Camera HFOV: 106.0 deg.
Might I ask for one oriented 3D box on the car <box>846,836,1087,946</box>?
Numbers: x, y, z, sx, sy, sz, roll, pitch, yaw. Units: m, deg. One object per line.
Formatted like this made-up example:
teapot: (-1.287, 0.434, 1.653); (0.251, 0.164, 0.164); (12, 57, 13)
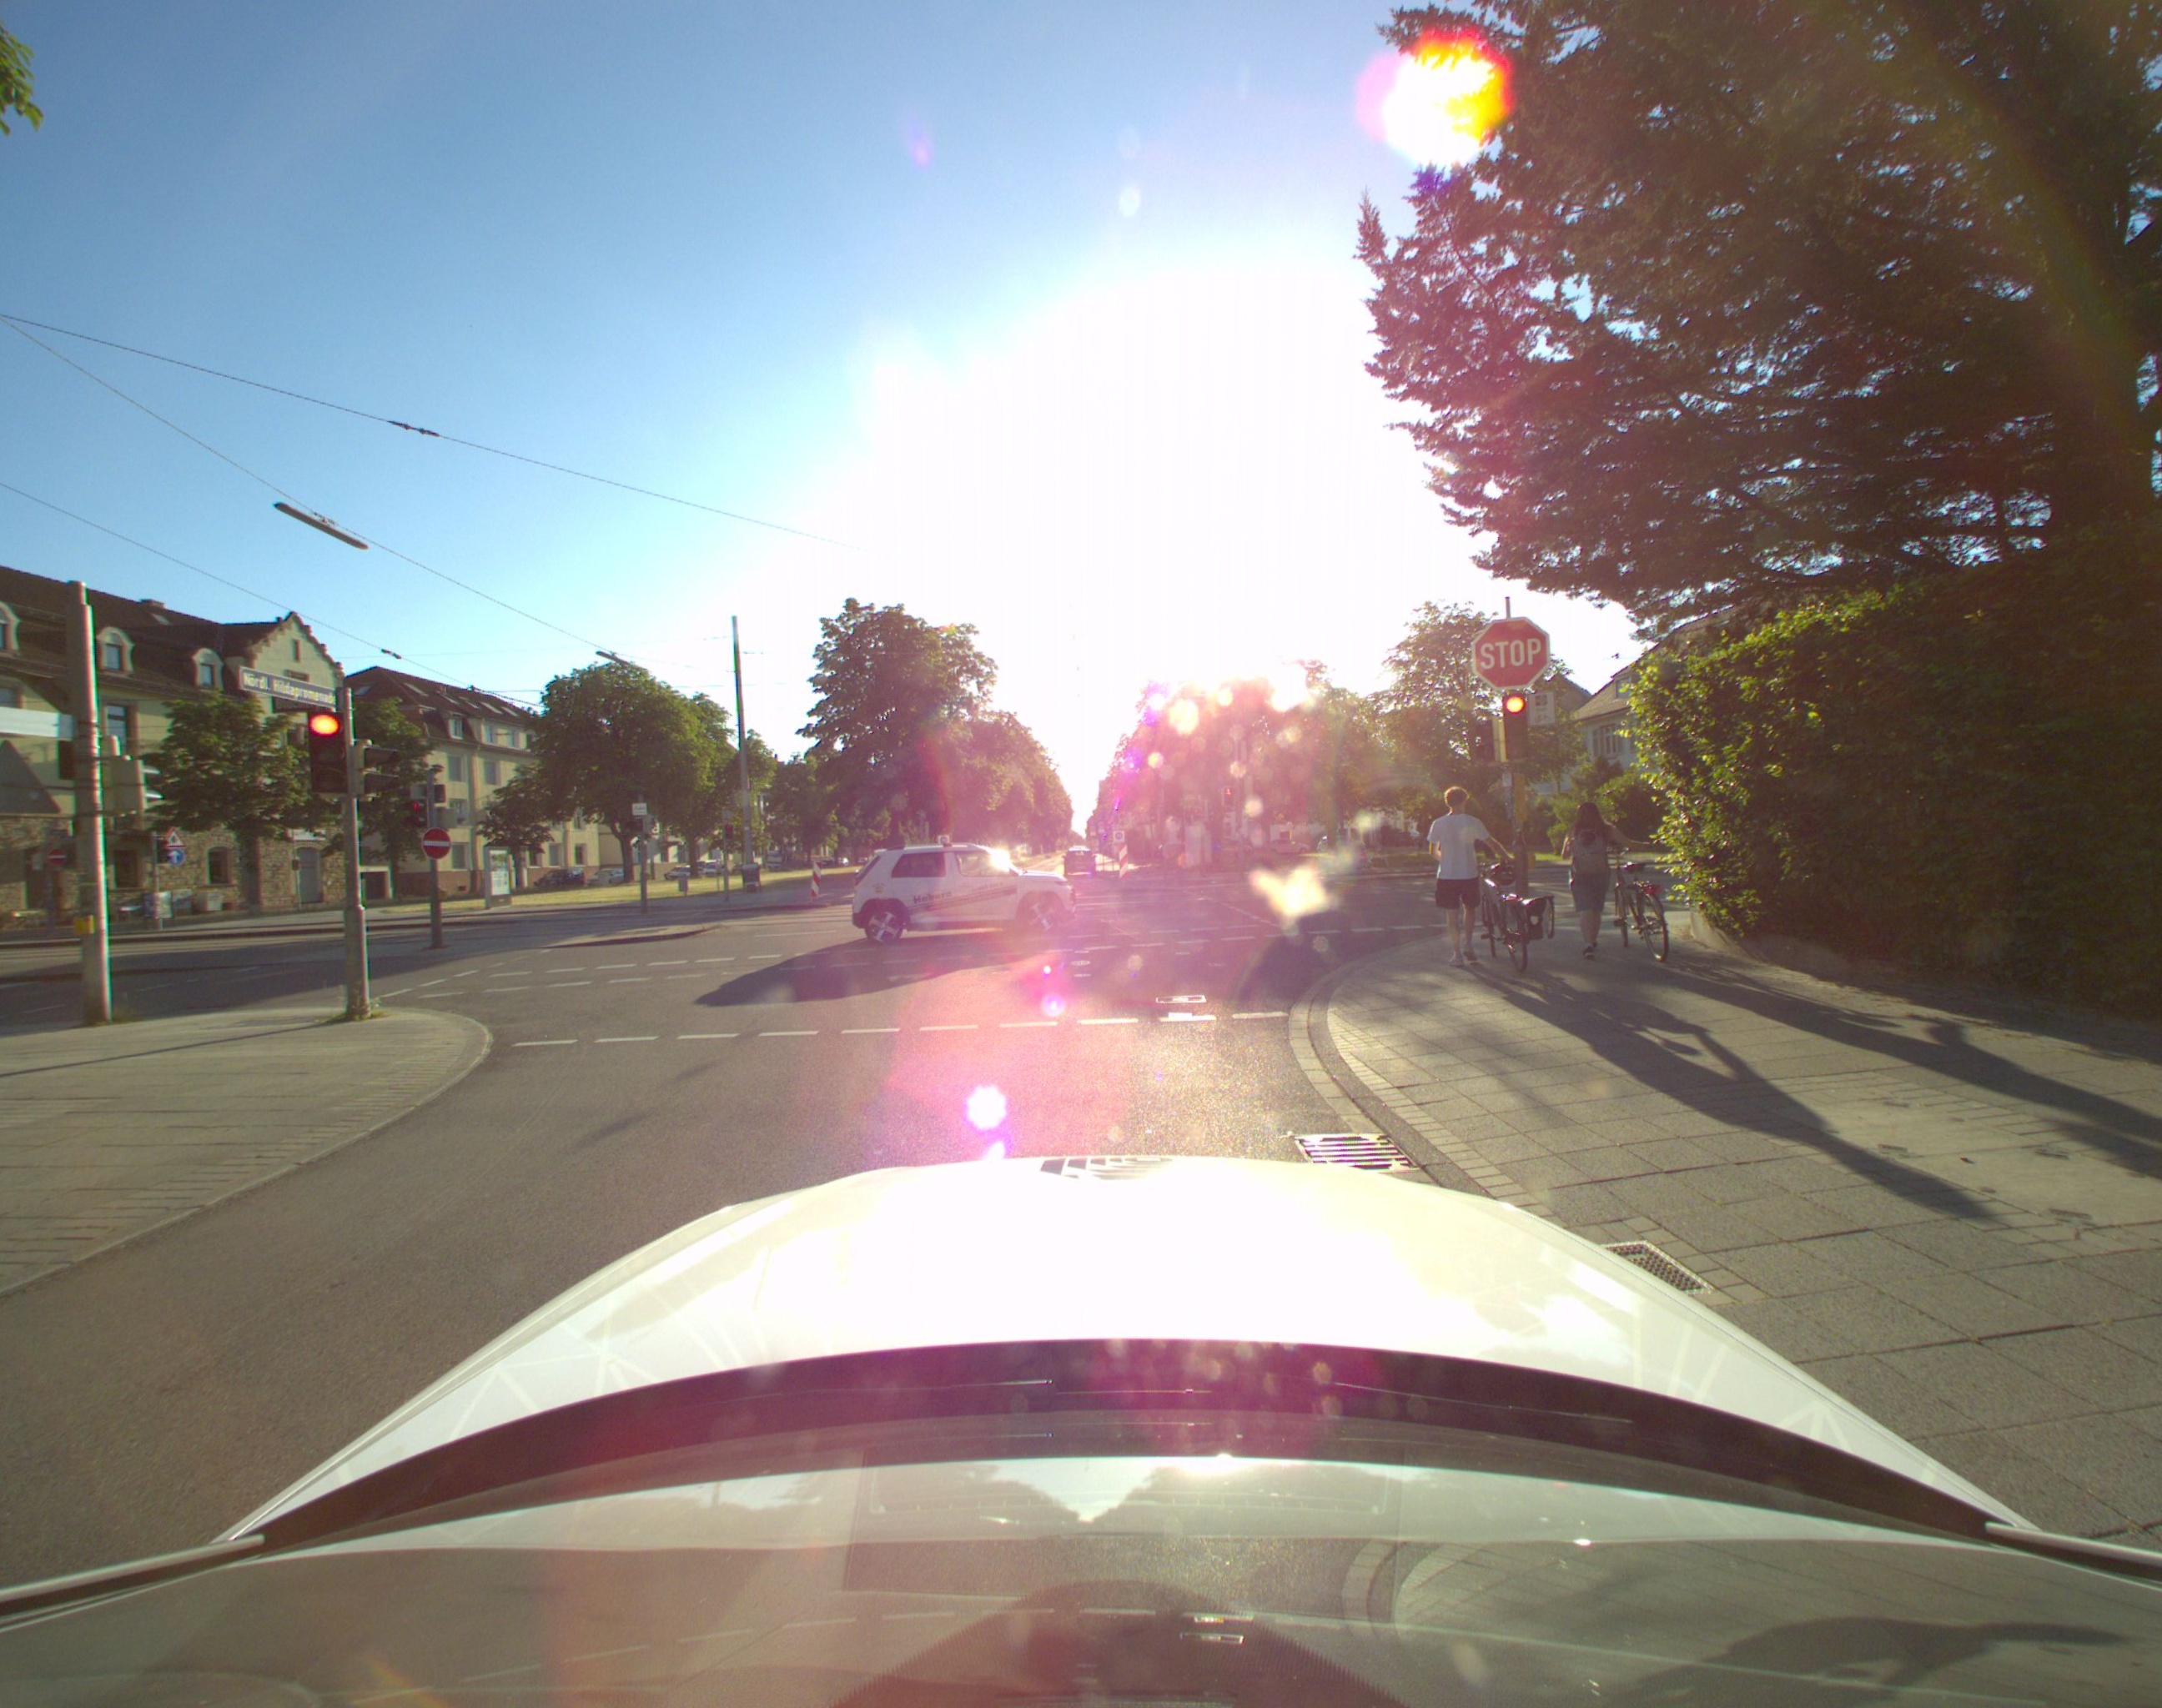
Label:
car: (-1.980, 0.566, 14.162); (3.869, 1.551, 1.605); (-3, 2, -13)

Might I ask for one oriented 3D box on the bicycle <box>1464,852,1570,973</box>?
bicycle: (4.530, 0.553, 8.577); (0.483, 1.097, 1.798); (-5, -1, 14)

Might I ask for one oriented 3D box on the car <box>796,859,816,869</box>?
car: (-43.090, 1.483, 127.500); (1.732, 1.427, 3.793); (-2, 0, 1)

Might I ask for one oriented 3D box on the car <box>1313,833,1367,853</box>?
car: (20.891, -0.875, 65.698); (3.838, 1.427, 1.595); (-2, 0, -4)

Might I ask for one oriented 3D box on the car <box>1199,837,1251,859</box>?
car: (11.498, -0.505, 65.203); (3.767, 1.525, 1.744); (-2, 2, 0)

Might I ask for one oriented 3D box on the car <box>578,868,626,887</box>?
car: (-43.053, 2.099, 73.336); (1.729, 1.427, 3.799); (-2, 0, 6)

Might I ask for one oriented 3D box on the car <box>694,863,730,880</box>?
car: (-37.322, 1.727, 82.437); (1.732, 1.427, 3.793); (-2, 2, 1)

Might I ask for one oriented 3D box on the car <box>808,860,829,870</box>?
car: (-37.709, 1.564, 117.168); (1.732, 1.427, 3.793); (-2, 0, 1)

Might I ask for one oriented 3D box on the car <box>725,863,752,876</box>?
car: (-43.534, 1.981, 103.554); (1.732, 1.427, 3.793); (-2, 0, 1)

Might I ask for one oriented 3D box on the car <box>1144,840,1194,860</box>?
car: (6.999, -0.312, 64.984); (3.767, 1.427, 1.744); (-2, 2, 0)

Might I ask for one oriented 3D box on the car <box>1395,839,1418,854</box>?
car: (33.392, -0.819, 83.407); (1.648, 1.417, 3.565); (-2, 0, 30)

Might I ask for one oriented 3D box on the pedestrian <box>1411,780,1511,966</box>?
pedestrian: (4.078, 0.190, 8.806); (0.665, 1.865, 0.885); (-6, 1, 13)

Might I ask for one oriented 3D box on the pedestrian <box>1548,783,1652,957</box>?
pedestrian: (5.393, 0.161, 8.507); (0.663, 1.708, 0.626); (-6, 1, 20)

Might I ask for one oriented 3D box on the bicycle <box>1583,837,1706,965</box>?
bicycle: (5.686, 0.426, 8.313); (0.483, 1.142, 1.605); (-5, 1, 16)

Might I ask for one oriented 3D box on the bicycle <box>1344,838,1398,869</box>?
bicycle: (11.637, -0.020, 32.708); (1.946, 1.132, 0.620); (-2, 0, 2)

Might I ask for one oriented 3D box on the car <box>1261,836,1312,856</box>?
car: (16.379, -0.621, 65.031); (3.656, 1.427, 1.529); (-2, 0, -4)

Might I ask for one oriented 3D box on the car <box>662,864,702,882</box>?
car: (-37.362, 1.766, 76.362); (1.732, 1.427, 3.793); (-2, 1, 1)

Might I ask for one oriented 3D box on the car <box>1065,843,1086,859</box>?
car: (-0.508, -0.279, 77.713); (1.839, 1.393, 3.829); (-2, 1, 1)

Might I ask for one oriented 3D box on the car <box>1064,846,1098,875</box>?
car: (0.027, 0.339, 44.022); (1.634, 1.450, 3.310); (-2, 1, 3)

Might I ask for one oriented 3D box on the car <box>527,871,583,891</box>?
car: (-43.122, 2.164, 66.857); (1.729, 1.397, 3.799); (-2, 0, 6)
